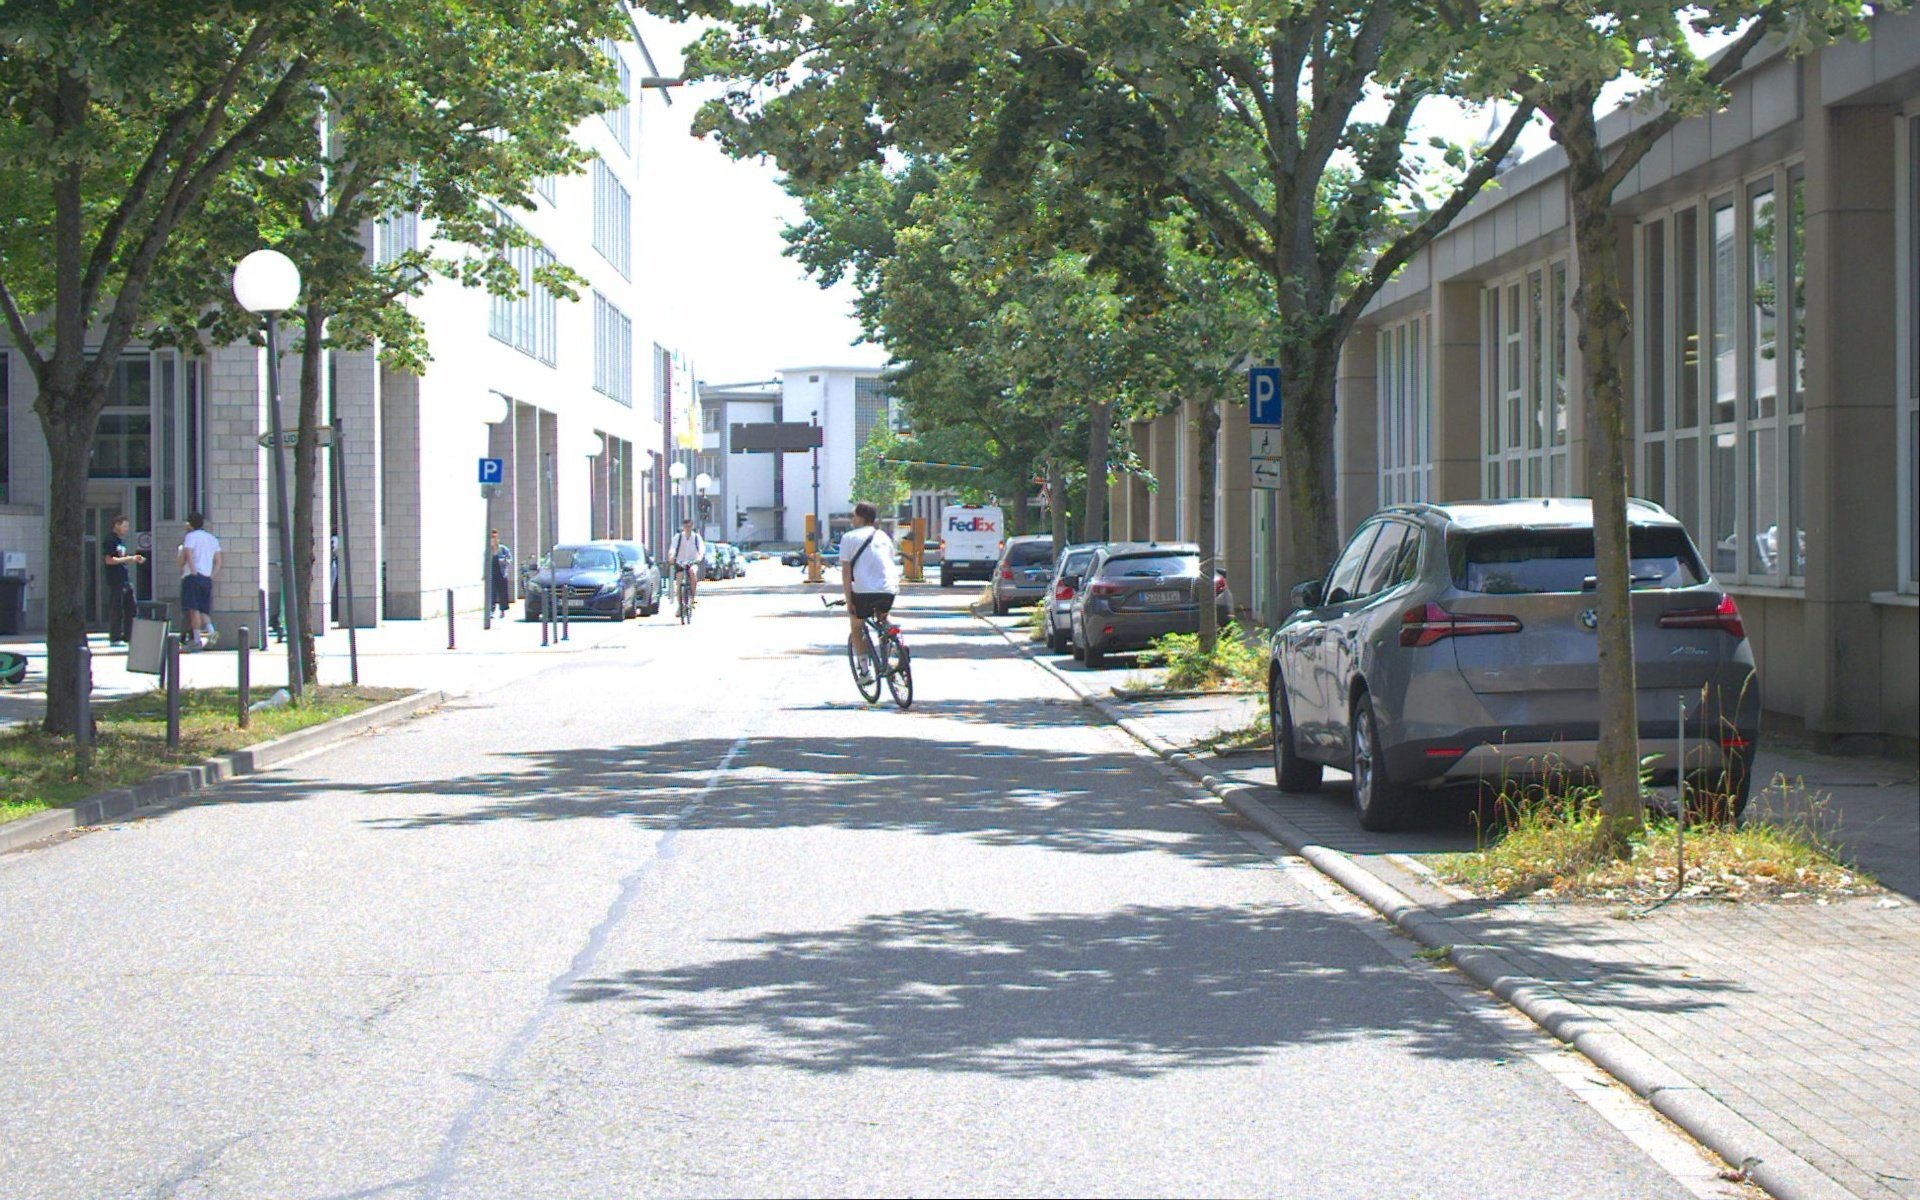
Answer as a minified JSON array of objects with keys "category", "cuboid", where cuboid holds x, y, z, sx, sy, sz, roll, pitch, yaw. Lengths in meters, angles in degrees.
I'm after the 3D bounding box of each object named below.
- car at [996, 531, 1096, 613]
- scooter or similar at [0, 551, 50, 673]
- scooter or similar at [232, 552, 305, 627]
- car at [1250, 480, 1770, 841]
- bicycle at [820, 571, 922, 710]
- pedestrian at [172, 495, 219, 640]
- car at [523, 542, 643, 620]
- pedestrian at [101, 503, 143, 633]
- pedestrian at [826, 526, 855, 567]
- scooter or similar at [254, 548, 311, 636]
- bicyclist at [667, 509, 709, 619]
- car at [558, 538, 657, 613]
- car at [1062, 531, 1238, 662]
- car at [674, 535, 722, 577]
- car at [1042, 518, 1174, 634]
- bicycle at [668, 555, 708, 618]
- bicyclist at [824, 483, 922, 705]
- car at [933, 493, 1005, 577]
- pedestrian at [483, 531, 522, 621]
[{"category":"car","cuboid":[1.734,-0.585,70.132,1.858,1.568,4.000,-1,1,-1]},{"category":"scooter or similar","cuboid":[-9.411,0.118,33.133,0.339,1.171,1.326,1,1,34]},{"category":"scooter or similar","cuboid":[-11.337,-0.178,56.367,0.525,1.206,1.557,-1,1,-38]},{"category":"car","cuboid":[2.801,0.277,18.581,1.822,1.658,4.584,-2,0,-3]},{"category":"bicycle","cuboid":[-0.800,0.346,31.718,0.882,1.195,2.750,0,1,0]},{"category":"pedestrian","cuboid":[-10.322,-0.440,46.432,0.412,1.935,0.663,0,1,-30]},{"category":"car","cuboid":[-7.110,-0.370,65.134,1.766,1.423,4.234,0,1,0]},{"category":"pedestrian","cuboid":[-11.501,-0.440,47.168,0.441,1.769,0.451,0,1,-31]},{"category":"pedestrian","cuboid":[-6.145,-2.752,177.058,1.416,2.100,0.995,1,1,-4]},{"category":"scooter or similar","cuboid":[-9.678,-0.124,49.133,0.454,1.219,1.549,0,1,3]},{"category":"bicyclist","cuboid":[-5.013,-0.666,63.426,0.711,2.007,1.019,-1,1,-3]},{"category":"car","cuboid":[-7.151,-0.509,70.016,1.631,1.479,4.178,0,1,-1]},{"category":"car","cuboid":[2.274,-0.082,42.119,1.780,1.471,4.462,-2,1,-1]},{"category":"car","cuboid":[-9.964,-1.662,130.862,1.646,1.493,3.729,0,-1,-1]},{"category":"car","cuboid":[2.013,-0.352,47.677,1.616,1.533,3.780,0,1,-1]},{"category":"bicycle","cuboid":[-5.012,-0.252,63.406,0.685,1.126,1.889,-1,1,-3]},{"category":"bicyclist","cuboid":[-0.795,-0.060,31.645,0.873,2.007,0.850,0,1,0]},{"category":"car","cuboid":[0.268,-2.029,107.548,2.083,2.531,4.316,1,1,-1]},{"category":"pedestrian","cuboid":[-8.704,-0.452,65.382,0.649,1.695,0.890,0,1,-12]}]
